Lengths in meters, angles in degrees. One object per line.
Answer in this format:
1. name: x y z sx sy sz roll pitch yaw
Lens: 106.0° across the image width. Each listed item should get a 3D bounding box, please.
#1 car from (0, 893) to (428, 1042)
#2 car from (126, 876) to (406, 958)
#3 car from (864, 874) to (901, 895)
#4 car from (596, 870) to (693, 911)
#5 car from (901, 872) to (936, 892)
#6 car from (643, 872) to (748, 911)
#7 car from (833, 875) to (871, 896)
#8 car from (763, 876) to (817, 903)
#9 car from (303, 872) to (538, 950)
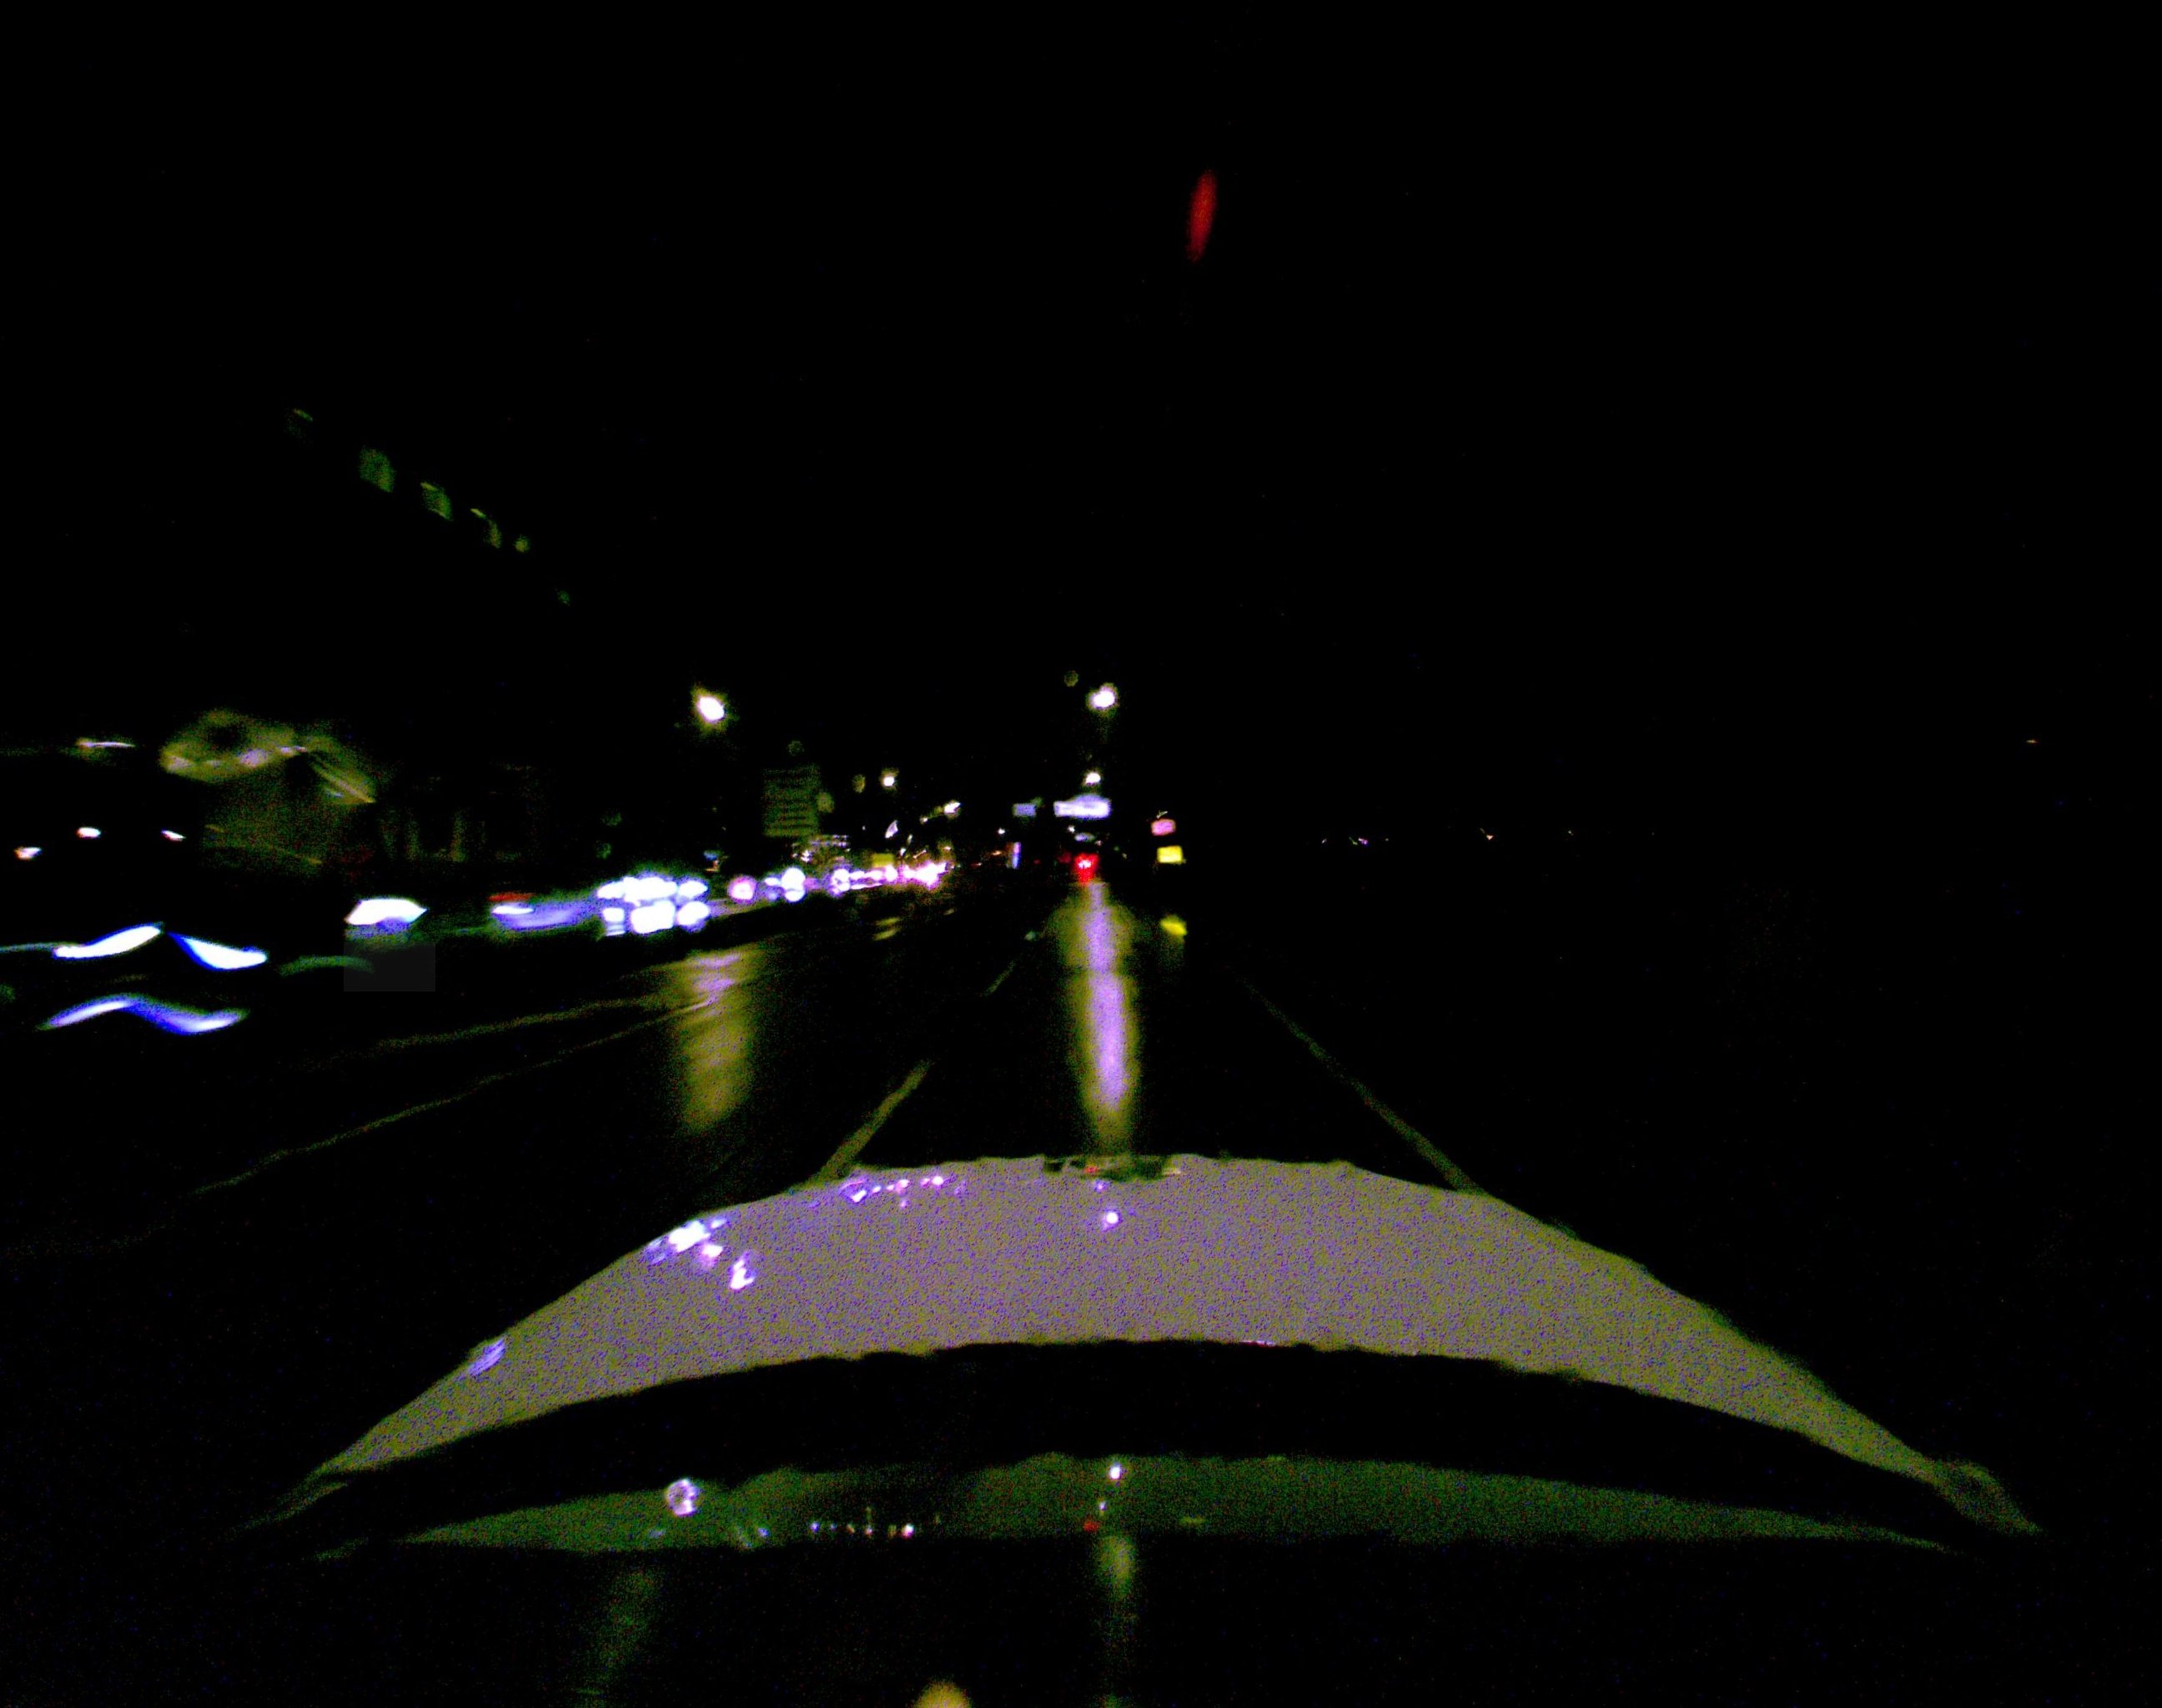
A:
1. car: -13.014 1.508 12.560 1.839 1.592 5.320 0 0 -4
2. car: -18.889 1.382 19.289 1.837 1.592 4.749 0 0 0
3. car: -16.202 2.493 66.587 1.836 1.592 4.366 0 -1 1
4. car: -19.034 1.549 35.729 1.836 1.592 4.366 0 -1 1
5. car: -13.078 2.221 65.607 1.836 1.486 4.366 0 0 1
6. car: -15.794 1.487 33.739 1.838 1.358 5.555 0 0 -1
7. car: -19.138 2.609 68.194 1.836 1.592 4.366 0 -1 1
8. car: -18.920 2.267 53.151 1.836 1.592 4.366 0 -1 1
9. car: -15.923 1.293 20.058 1.836 1.592 4.751 0 0 1
